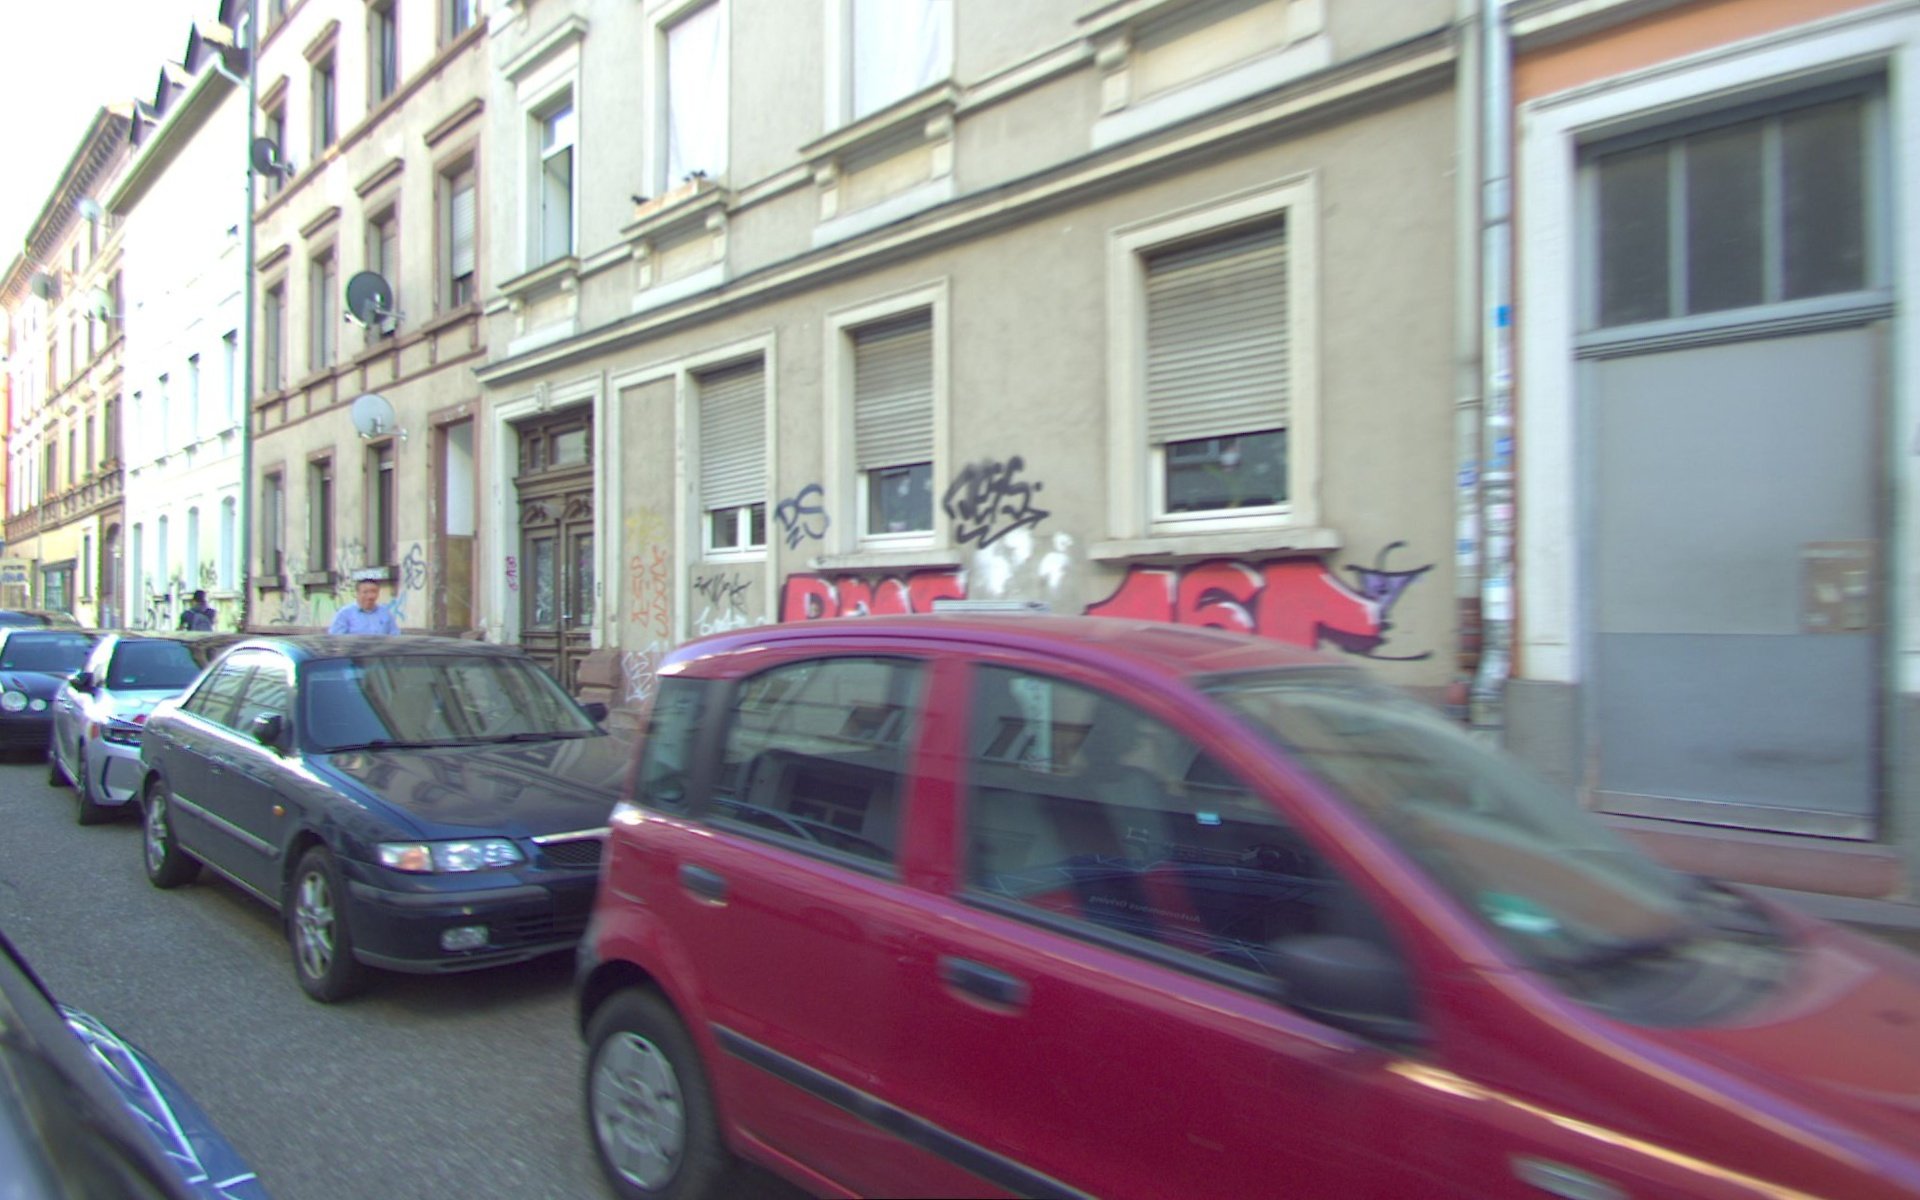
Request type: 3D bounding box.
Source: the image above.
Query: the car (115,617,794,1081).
[{"bbox_3d":[-2.896,0.832,5.282,4.310,1.474,1.662,-1,-1,41],"label":"car"}]

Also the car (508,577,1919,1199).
[{"bbox_3d":[0.624,0.755,2.301,3.610,1.504,1.662,-1,-1,41],"label":"car"}]

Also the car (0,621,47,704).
[{"bbox_3d":[-18.628,1.133,19.066,3.858,1.468,1.662,-1,-1,41],"label":"car"}]

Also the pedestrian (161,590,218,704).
[{"bbox_3d":[-12.840,0.758,16.866,0.594,1.844,0.618,-1,0,42],"label":"pedestrian"}]

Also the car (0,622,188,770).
[{"bbox_3d":[-10.625,1.000,11.944,3.858,1.474,1.662,-1,-1,41],"label":"car"}]

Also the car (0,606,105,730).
[{"bbox_3d":[-14.481,0.967,15.413,3.858,1.696,1.662,-1,-1,41],"label":"car"}]

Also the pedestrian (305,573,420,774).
[{"bbox_3d":[-5.753,0.670,9.755,0.594,1.844,0.780,-1,0,41],"label":"pedestrian"}]

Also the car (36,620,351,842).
[{"bbox_3d":[-6.723,0.915,8.719,1.660,1.474,3.862,1,-1,-45],"label":"car"}]
